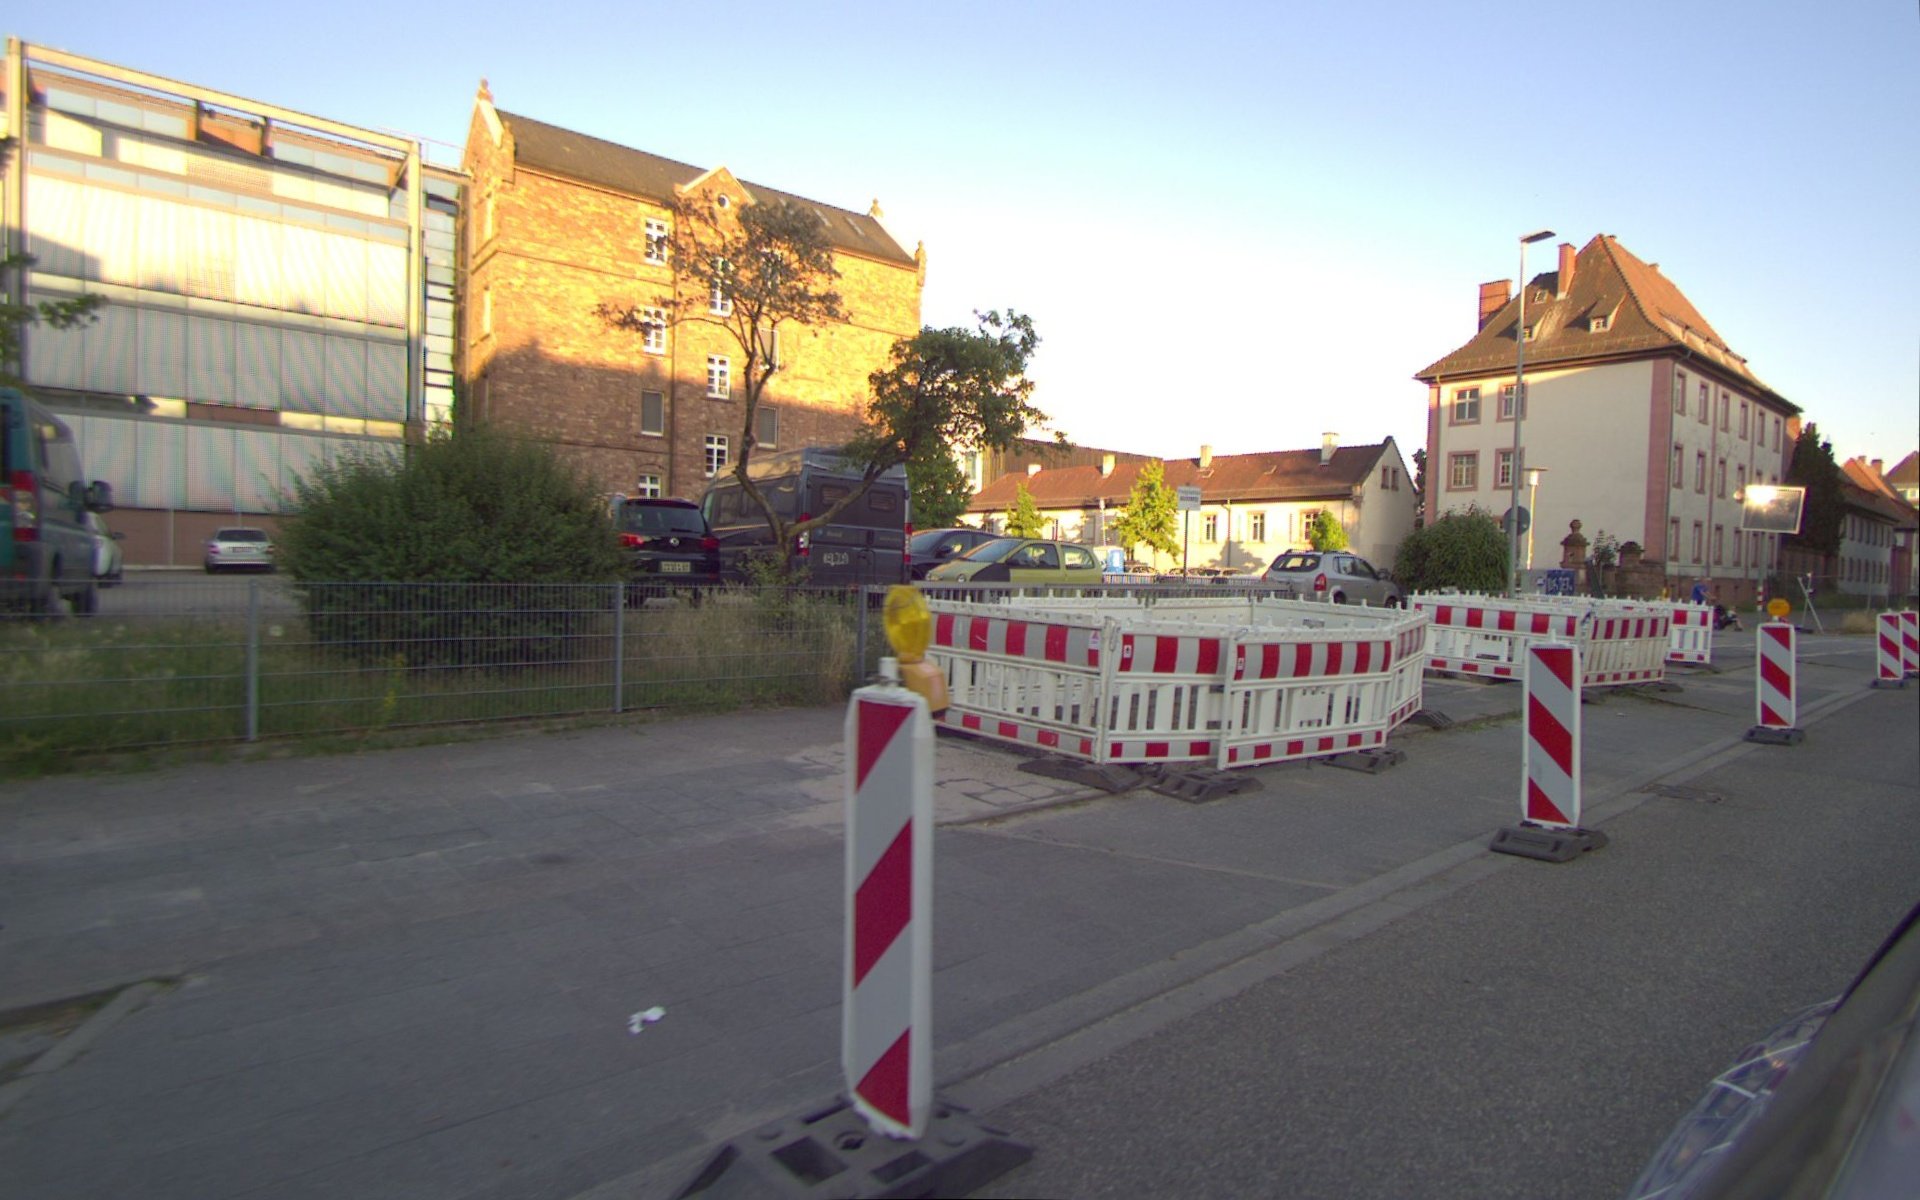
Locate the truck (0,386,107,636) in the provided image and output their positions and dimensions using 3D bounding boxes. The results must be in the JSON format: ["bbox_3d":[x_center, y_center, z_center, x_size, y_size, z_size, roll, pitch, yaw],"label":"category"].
[{"bbox_3d":[-10.035,-0.861,9.975,2.072,2.116,4.514,0,3,-35],"label":"truck"}]

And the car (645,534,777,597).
[{"bbox_3d":[-7.013,-0.998,28.208,1.963,1.595,4.363,0,3,-38],"label":"car"}]

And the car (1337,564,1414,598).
[{"bbox_3d":[20.719,-0.956,50.408,3.931,1.592,1.997,0,2,-42],"label":"car"}]

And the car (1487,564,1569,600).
[{"bbox_3d":[25.110,-0.782,44.680,3.931,1.477,1.997,0,2,-42],"label":"car"}]

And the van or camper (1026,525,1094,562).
[{"bbox_3d":[6.772,-3.802,68.379,4.893,2.268,1.684,0,2,-42],"label":"van or camper"}]

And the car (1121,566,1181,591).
[{"bbox_3d":[11.765,-1.317,62.283,3.688,1.463,1.684,0,2,-42],"label":"car"}]

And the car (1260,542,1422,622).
[{"bbox_3d":[9.071,-0.444,23.961,4.207,1.729,1.701,0,3,-40],"label":"car"}]

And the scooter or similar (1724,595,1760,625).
[{"bbox_3d":[25.199,0.316,32.620,0.506,0.901,0.806,0,2,-38],"label":"scooter or similar"}]

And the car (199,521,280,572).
[{"bbox_3d":[-22.404,-1.677,31.394,1.868,1.450,4.178,0,3,-38],"label":"car"}]

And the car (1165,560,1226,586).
[{"bbox_3d":[13.957,-1.580,59.795,3.688,1.463,1.684,0,2,-42],"label":"car"}]

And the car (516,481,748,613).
[{"bbox_3d":[-5.067,-0.798,15.304,1.965,1.713,3.996,0,3,-40],"label":"car"}]

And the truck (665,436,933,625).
[{"bbox_3d":[-2.865,-1.116,16.916,2.298,2.648,4.972,0,3,-37],"label":"truck"}]

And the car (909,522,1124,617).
[{"bbox_3d":[1.049,-0.546,17.975,3.576,1.522,1.637,0,3,-37],"label":"car"}]

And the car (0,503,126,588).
[{"bbox_3d":[-17.594,-1.064,19.937,1.744,1.535,3.215,0,3,-39],"label":"car"}]

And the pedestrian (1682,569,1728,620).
[{"bbox_3d":[24.647,-0.188,33.484,0.738,1.662,1.014,1,2,-37],"label":"pedestrian"}]

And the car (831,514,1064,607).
[{"bbox_3d":[-0.158,-0.747,19.924,4.513,1.658,1.575,0,3,-37],"label":"car"}]
